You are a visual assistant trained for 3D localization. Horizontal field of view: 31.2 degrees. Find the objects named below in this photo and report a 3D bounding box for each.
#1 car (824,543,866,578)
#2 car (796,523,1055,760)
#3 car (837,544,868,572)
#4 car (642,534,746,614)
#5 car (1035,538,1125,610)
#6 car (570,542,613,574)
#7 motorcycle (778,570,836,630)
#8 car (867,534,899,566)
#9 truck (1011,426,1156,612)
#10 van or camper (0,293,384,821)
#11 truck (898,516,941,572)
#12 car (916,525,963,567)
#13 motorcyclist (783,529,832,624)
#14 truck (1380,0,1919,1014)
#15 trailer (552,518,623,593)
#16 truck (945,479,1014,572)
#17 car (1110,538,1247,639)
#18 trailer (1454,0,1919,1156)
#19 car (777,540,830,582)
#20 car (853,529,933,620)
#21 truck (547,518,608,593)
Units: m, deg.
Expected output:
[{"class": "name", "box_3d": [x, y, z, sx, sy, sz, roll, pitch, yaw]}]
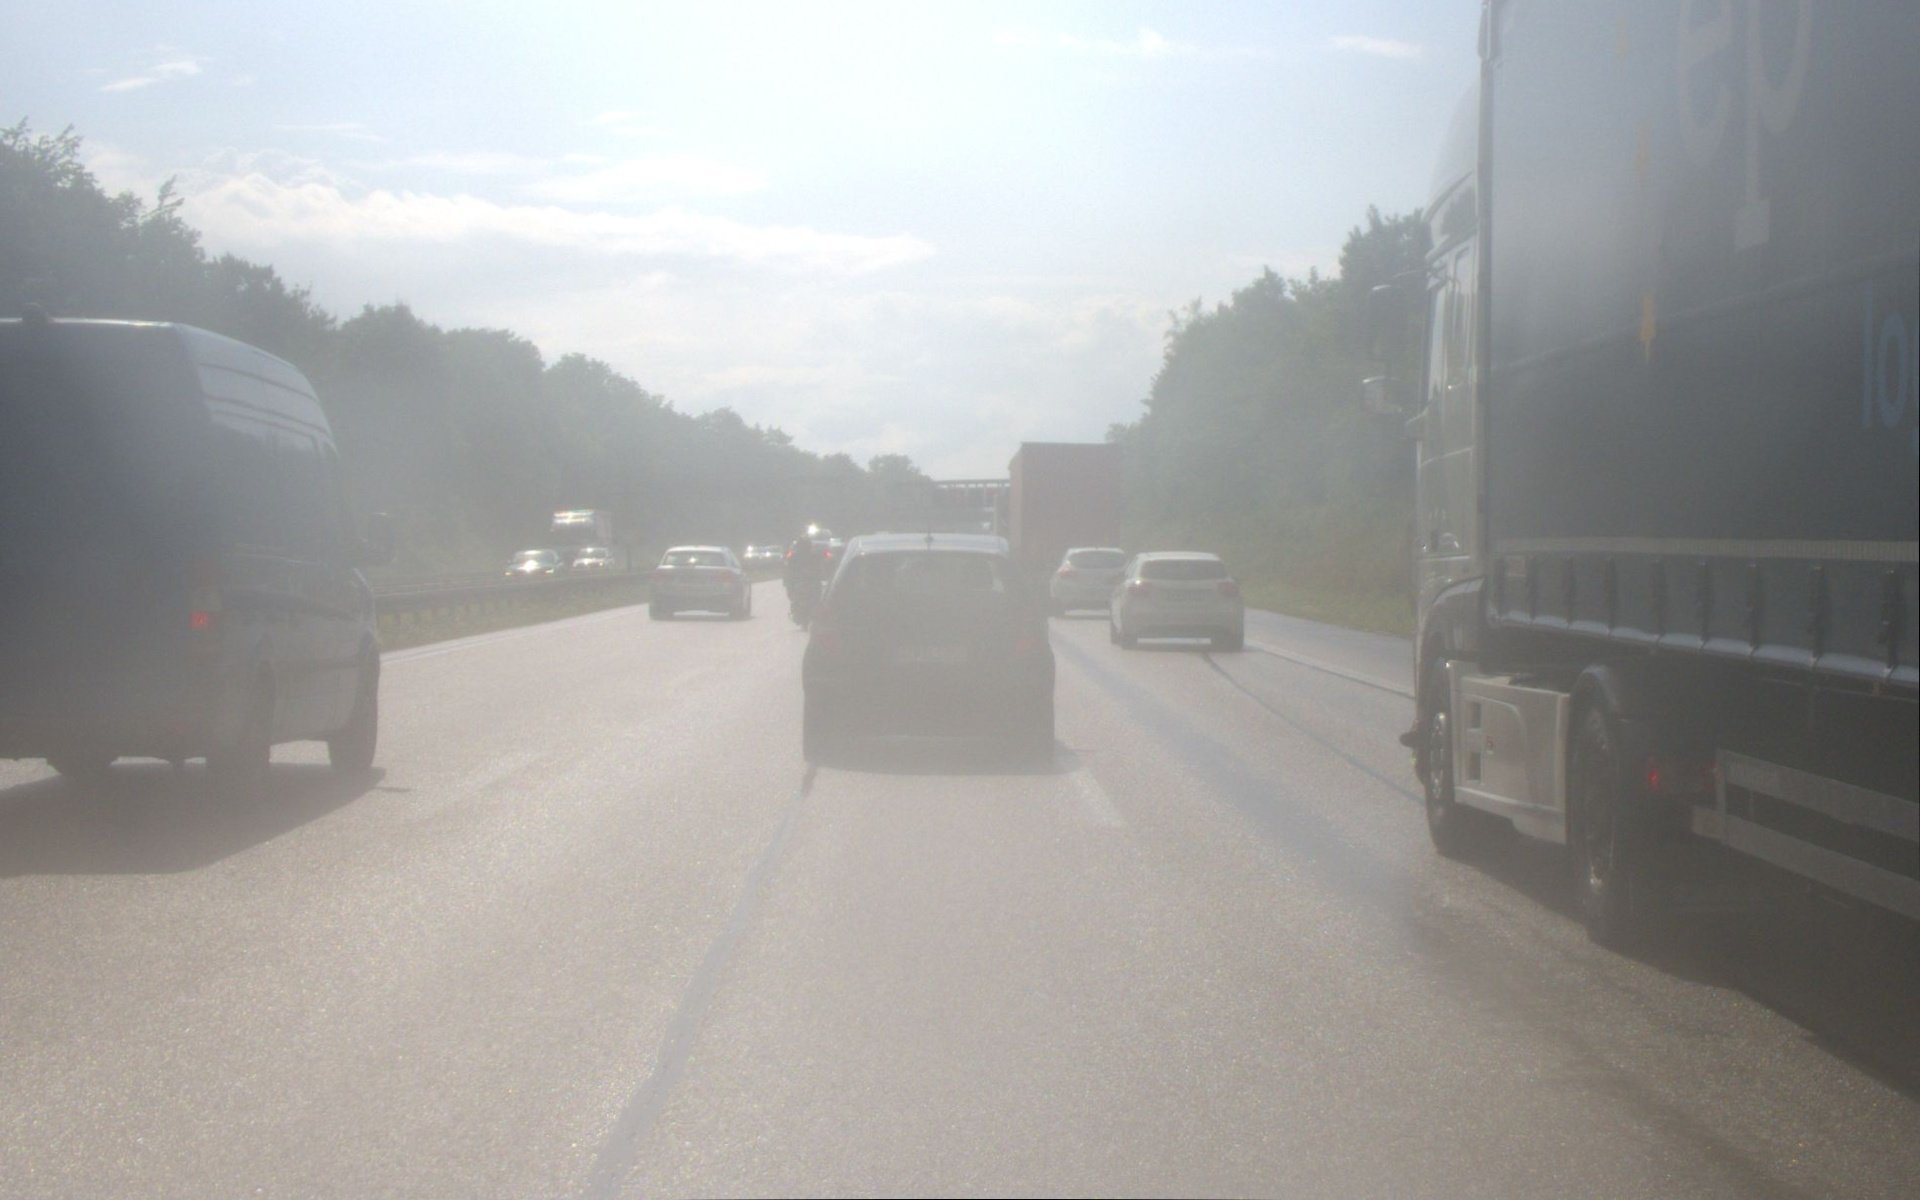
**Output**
[{"class": "car", "box_3d": [-4.984, -1.719, 149.399, 1.751, 1.452, 3.390, 1, 1, -1]}, {"class": "car", "box_3d": [-0.252, 0.255, 24.762, 1.717, 1.562, 3.485, 1, 1, -1]}, {"class": "car", "box_3d": [-5.476, -2.161, 175.593, 1.485, 1.385, 3.198, 1, 1, -1]}, {"class": "car", "box_3d": [-5.353, -0.540, 69.462, 1.854, 1.546, 3.485, 1, 1, -1]}, {"class": "car", "box_3d": [2.495, -0.558, 72.116, 1.680, 1.437, 3.905, 1, 1, -1]}, {"class": "car", "box_3d": [-19.541, -2.211, 182.646, 1.828, 1.657, 4.631, 1, 1, -1]}, {"class": "motorcycle", "box_3d": [-2.649, -0.013, 59.825, 0.890, 0.997, 2.896, 1, 1, -1]}, {"class": "car", "box_3d": [-4.832, -3.156, 216.305, 1.993, 2.007, 4.000, 0, 1, 0]}, {"class": "truck", "box_3d": [3.309, -2.179, 96.318, 3.650, 4.704, 16.779, 1, 1, 1]}, {"class": "van or camper", "box_3d": [-4.798, -0.254, 20.094, 1.993, 2.659, 5.385, 1, 1, -1]}, {"class": "truck", "box_3d": [-2.139, -2.929, 179.963, 2.192, 2.865, 4.850, 1, 1, -1]}, {"class": "car", "box_3d": [-0.699, -1.807, 116.283, 1.552, 1.378, 3.210, 1, 1, -1]}, {"class": "motorcyclist", "box_3d": [-2.653, -0.411, 59.942, 0.801, 1.627, 1.013, 1, 1, -1]}, {"class": "truck", "box_3d": [3.592, -0.713, 14.549, 2.606, 3.982, 7.291, 1, 1, -1]}, {"class": "trailer", "box_3d": [-22.622, -2.700, 209.447, 2.863, 4.358, 14.093, 1, 1, -1]}, {"class": "truck", "box_3d": [1.028, -3.680, 173.376, 3.256, 4.464, 12.421, 1, 1, 1]}, {"class": "car", "box_3d": [3.213, -0.194, 51.211, 1.692, 1.420, 4.220, 1, 1, -1]}, {"class": "trailer", "box_3d": [3.646, -0.642, 8.482, 2.634, 3.982, 14.065, 1, 1, -1]}, {"class": "car", "box_3d": [-5.567, -1.406, 122.763, 1.751, 1.452, 3.390, 1, 1, -1]}, {"class": "car", "box_3d": [-1.331, -0.519, 68.858, 1.531, 1.740, 3.485, 1, 1, -1]}, {"class": "truck", "box_3d": [-22.543, -2.620, 202.889, 2.863, 4.358, 6.869, 1, 1, -1]}]
